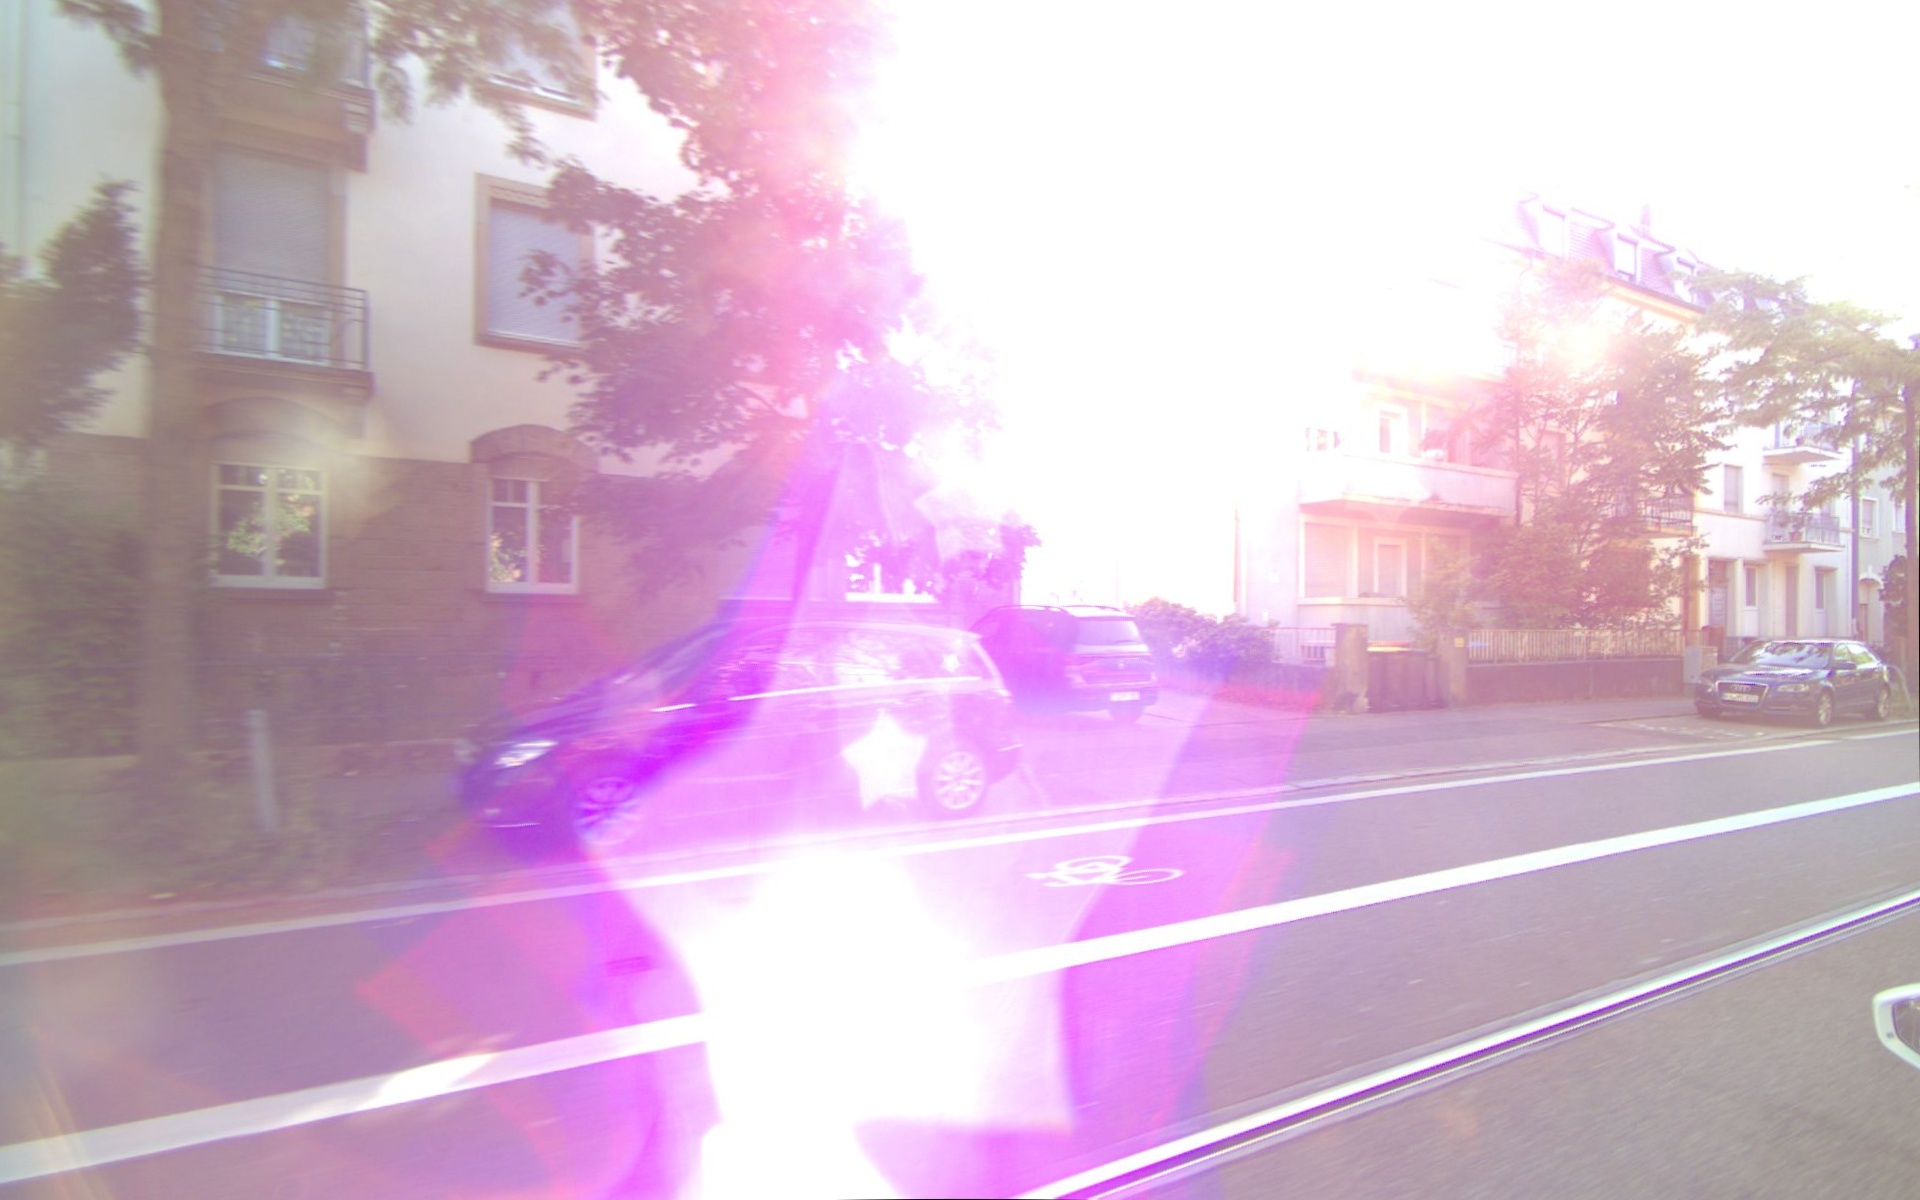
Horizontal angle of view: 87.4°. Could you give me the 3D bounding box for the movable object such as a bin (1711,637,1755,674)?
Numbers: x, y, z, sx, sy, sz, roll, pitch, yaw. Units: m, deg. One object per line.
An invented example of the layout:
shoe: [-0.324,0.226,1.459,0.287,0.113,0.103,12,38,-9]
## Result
movable object such as a bin: [23.960,1.712,31.133,0.723,1.060,0.841,1,1,-27]

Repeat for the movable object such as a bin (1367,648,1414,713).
movable object such as a bin: [7.314,1.358,17.089,0.504,1.080,0.544,1,-1,-30]

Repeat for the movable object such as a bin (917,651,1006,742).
movable object such as a bin: [0.016,1.199,12.759,0.804,1.080,0.871,1,-1,-30]

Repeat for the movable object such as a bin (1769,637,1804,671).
movable object such as a bin: [25.443,1.659,30.928,0.723,0.989,0.557,1,1,-27]

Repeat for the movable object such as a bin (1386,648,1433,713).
movable object such as a bin: [7.762,1.381,17.348,0.504,1.080,0.544,1,-1,-30]

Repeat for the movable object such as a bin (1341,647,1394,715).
movable object such as a bin: [6.806,1.339,16.783,0.662,1.080,0.538,1,-1,-30]

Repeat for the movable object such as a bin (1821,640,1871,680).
movable object such as a bin: [25.565,1.722,28.990,0.723,1.060,0.841,1,1,-27]

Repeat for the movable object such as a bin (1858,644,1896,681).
movable object such as a bin: [25.889,1.762,28.350,0.723,0.989,0.557,1,1,-27]

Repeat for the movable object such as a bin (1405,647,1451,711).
movable object such as a bin: [8.201,1.381,17.607,0.504,1.080,0.534,1,-1,-30]

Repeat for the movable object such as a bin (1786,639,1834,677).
movable object such as a bin: [25.172,1.697,29.759,0.723,1.060,0.841,1,1,-27]

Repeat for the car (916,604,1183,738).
car: [1.190,0.946,15.247,1.961,1.681,4.144,1,0,-31]

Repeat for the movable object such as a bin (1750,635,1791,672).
movable object such as a bin: [24.563,1.603,30.431,0.723,1.060,0.705,1,1,-27]

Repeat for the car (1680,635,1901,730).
car: [14.617,1.370,17.622,4.285,1.425,1.696,1,0,-32]

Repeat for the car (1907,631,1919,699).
car: [24.141,1.540,23.534,4.322,1.531,1.807,1,0,-32]

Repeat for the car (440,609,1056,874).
car: [-1.564,0.902,7.942,4.433,1.562,1.768,1,0,-31]
